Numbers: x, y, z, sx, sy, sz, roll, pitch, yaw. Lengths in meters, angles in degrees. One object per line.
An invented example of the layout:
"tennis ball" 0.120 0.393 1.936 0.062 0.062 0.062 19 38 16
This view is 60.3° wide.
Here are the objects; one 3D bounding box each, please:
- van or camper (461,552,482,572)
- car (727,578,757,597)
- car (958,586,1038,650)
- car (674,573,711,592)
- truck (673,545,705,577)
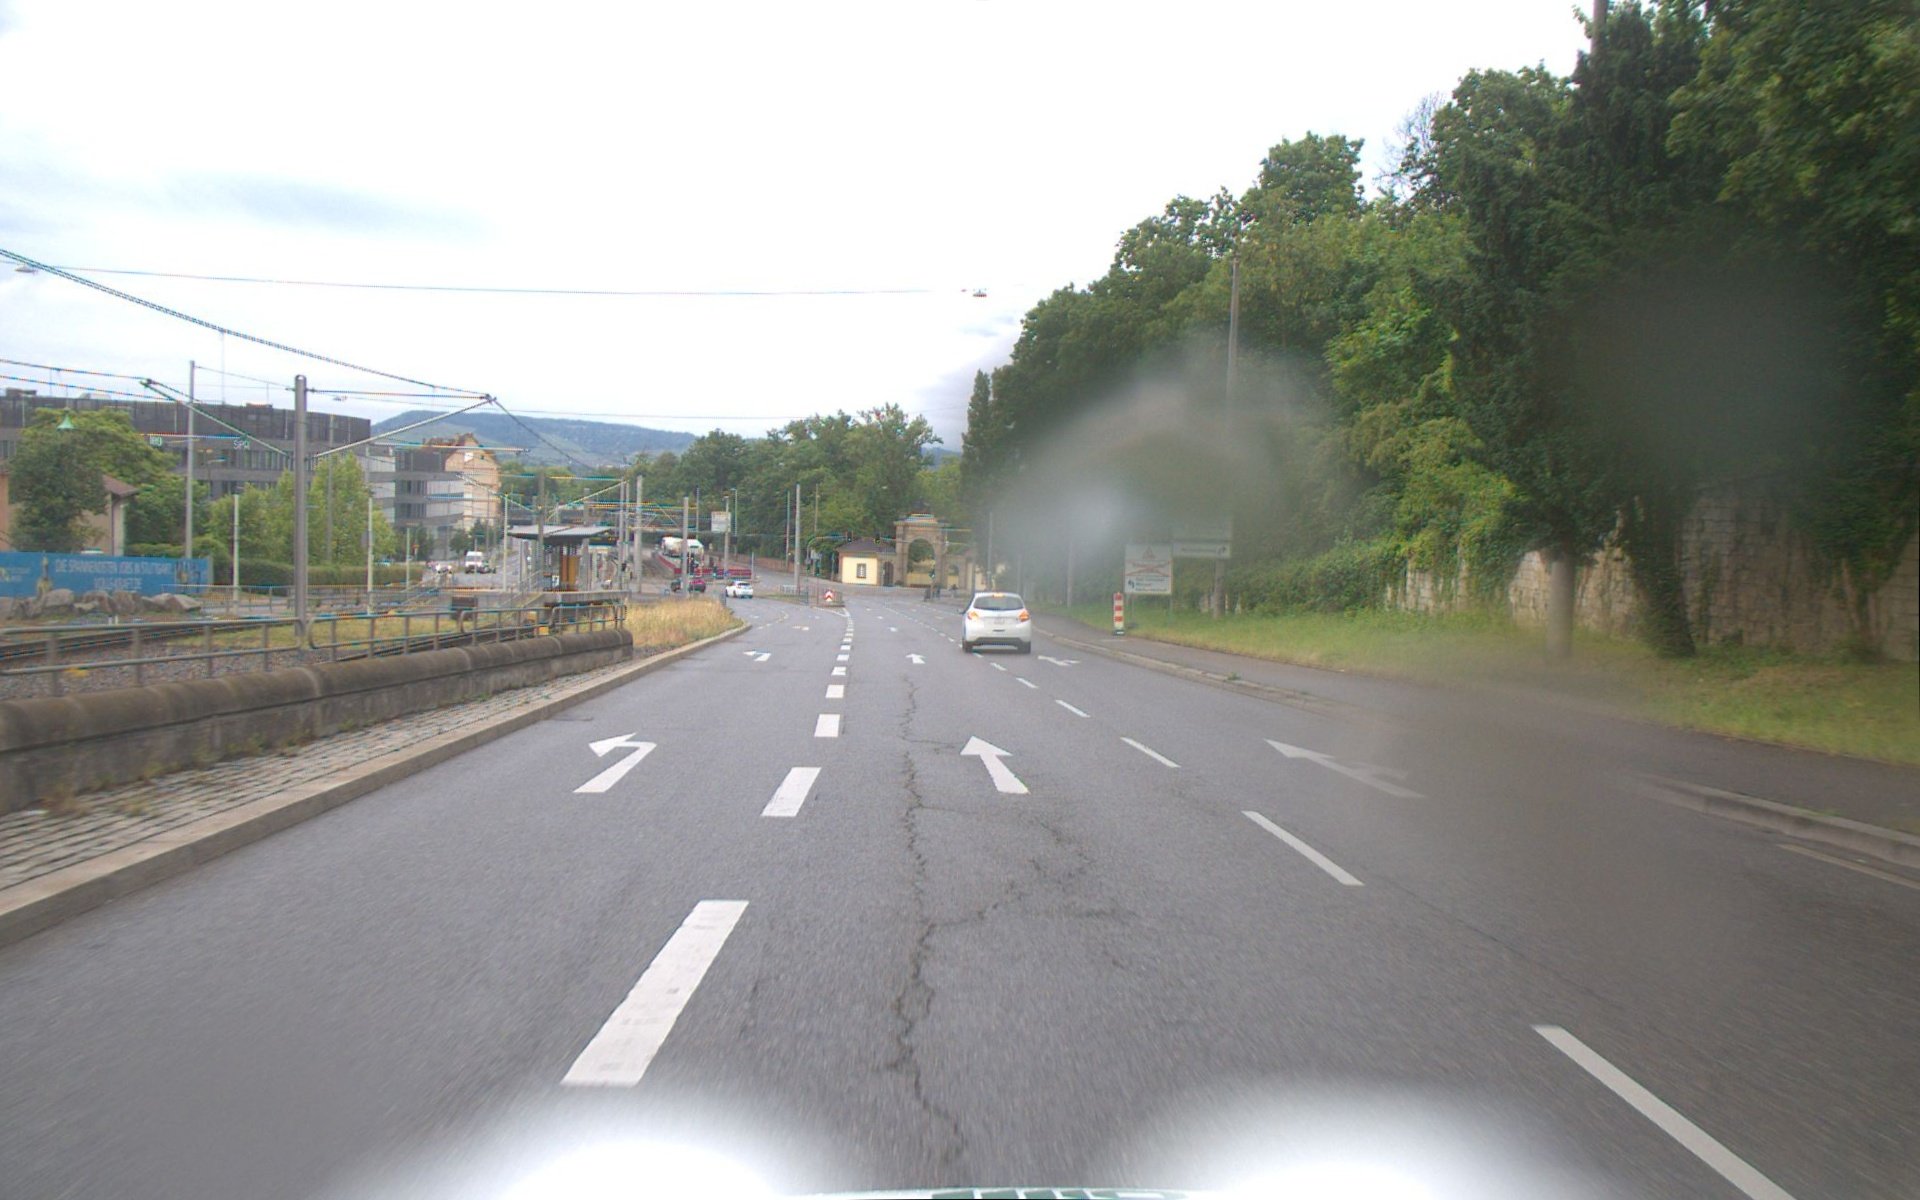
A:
"van or camper" -58.398 -4.545 197.840 1.958 2.385 3.989 -1 1 -11
"car" -19.569 -1.112 148.463 1.797 1.634 3.973 -1 1 -22
"car" 0.921 0.447 41.937 1.831 1.537 3.898 0 0 -1
"car" -25.682 -1.686 158.789 1.976 1.735 3.952 1 1 -34
"truck" -43.016 -6.231 261.989 3.360 4.649 11.237 4 0 -17
